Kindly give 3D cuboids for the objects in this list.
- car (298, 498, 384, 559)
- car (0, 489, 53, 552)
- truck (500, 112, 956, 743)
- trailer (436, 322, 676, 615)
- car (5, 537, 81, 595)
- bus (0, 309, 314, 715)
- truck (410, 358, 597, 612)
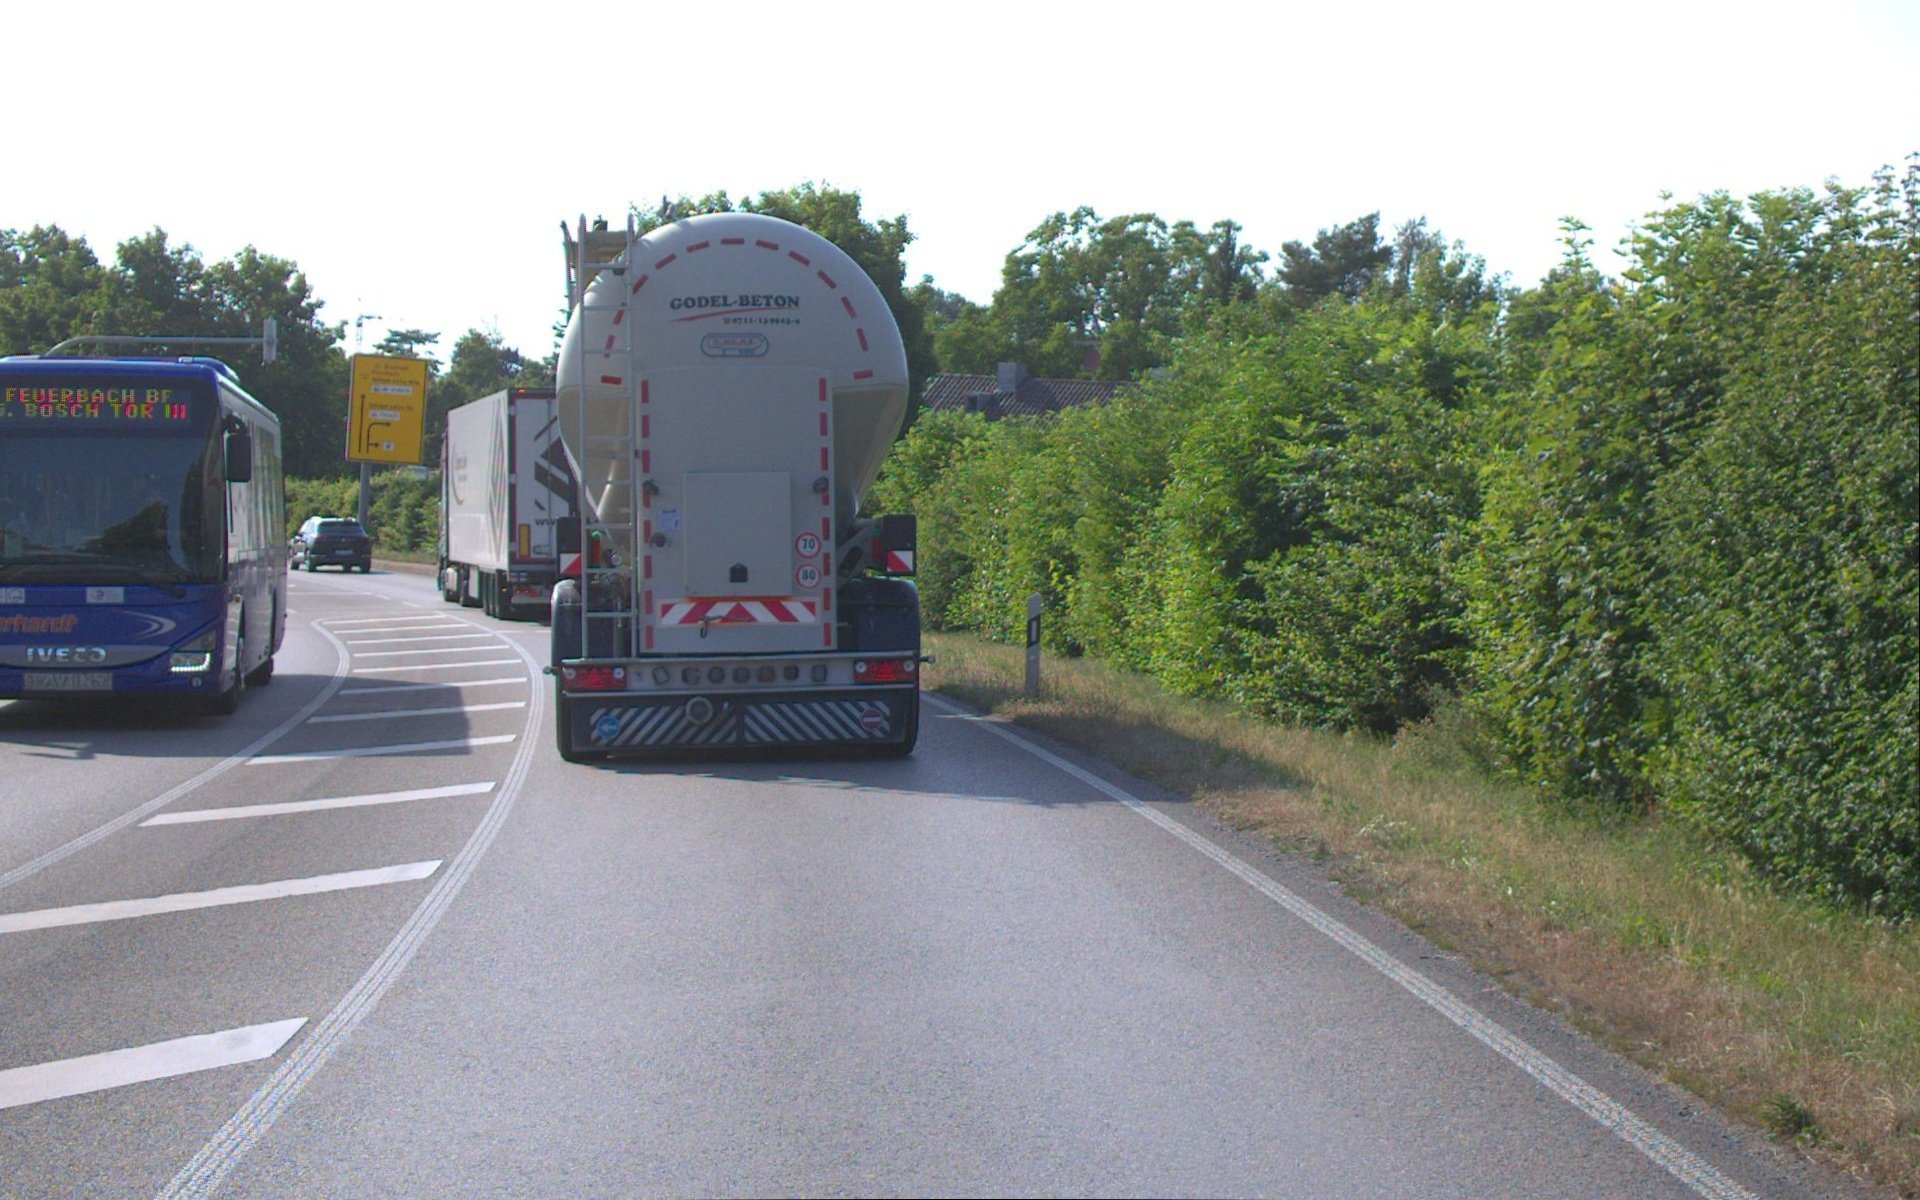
[{"bbox_3d":[-17.715,-2.032,98.253,1.993,1.650,4.001,1,0,-16],"label":"car"},{"bbox_3d":[-24.583,-2.057,89.726,1.694,1.547,4.153,1,0,-14],"label":"car"},{"bbox_3d":[-1.954,-1.156,28.790,2.975,4.161,11.664,1,0,-4],"label":"truck"},{"bbox_3d":[-7.565,-2.227,62.968,2.963,4.865,10.291,1,0,-14],"label":"trailer"},{"bbox_3d":[-29.268,-1.111,109.775,1.993,1.719,4.427,1,2,-11],"label":"car"},{"bbox_3d":[-7.942,-0.715,33.078,2.793,3.171,12.129,1,0,-8],"label":"bus"},{"bbox_3d":[-9.383,-2.244,70.064,2.962,4.870,6.432,1,0,-14],"label":"truck"}]
